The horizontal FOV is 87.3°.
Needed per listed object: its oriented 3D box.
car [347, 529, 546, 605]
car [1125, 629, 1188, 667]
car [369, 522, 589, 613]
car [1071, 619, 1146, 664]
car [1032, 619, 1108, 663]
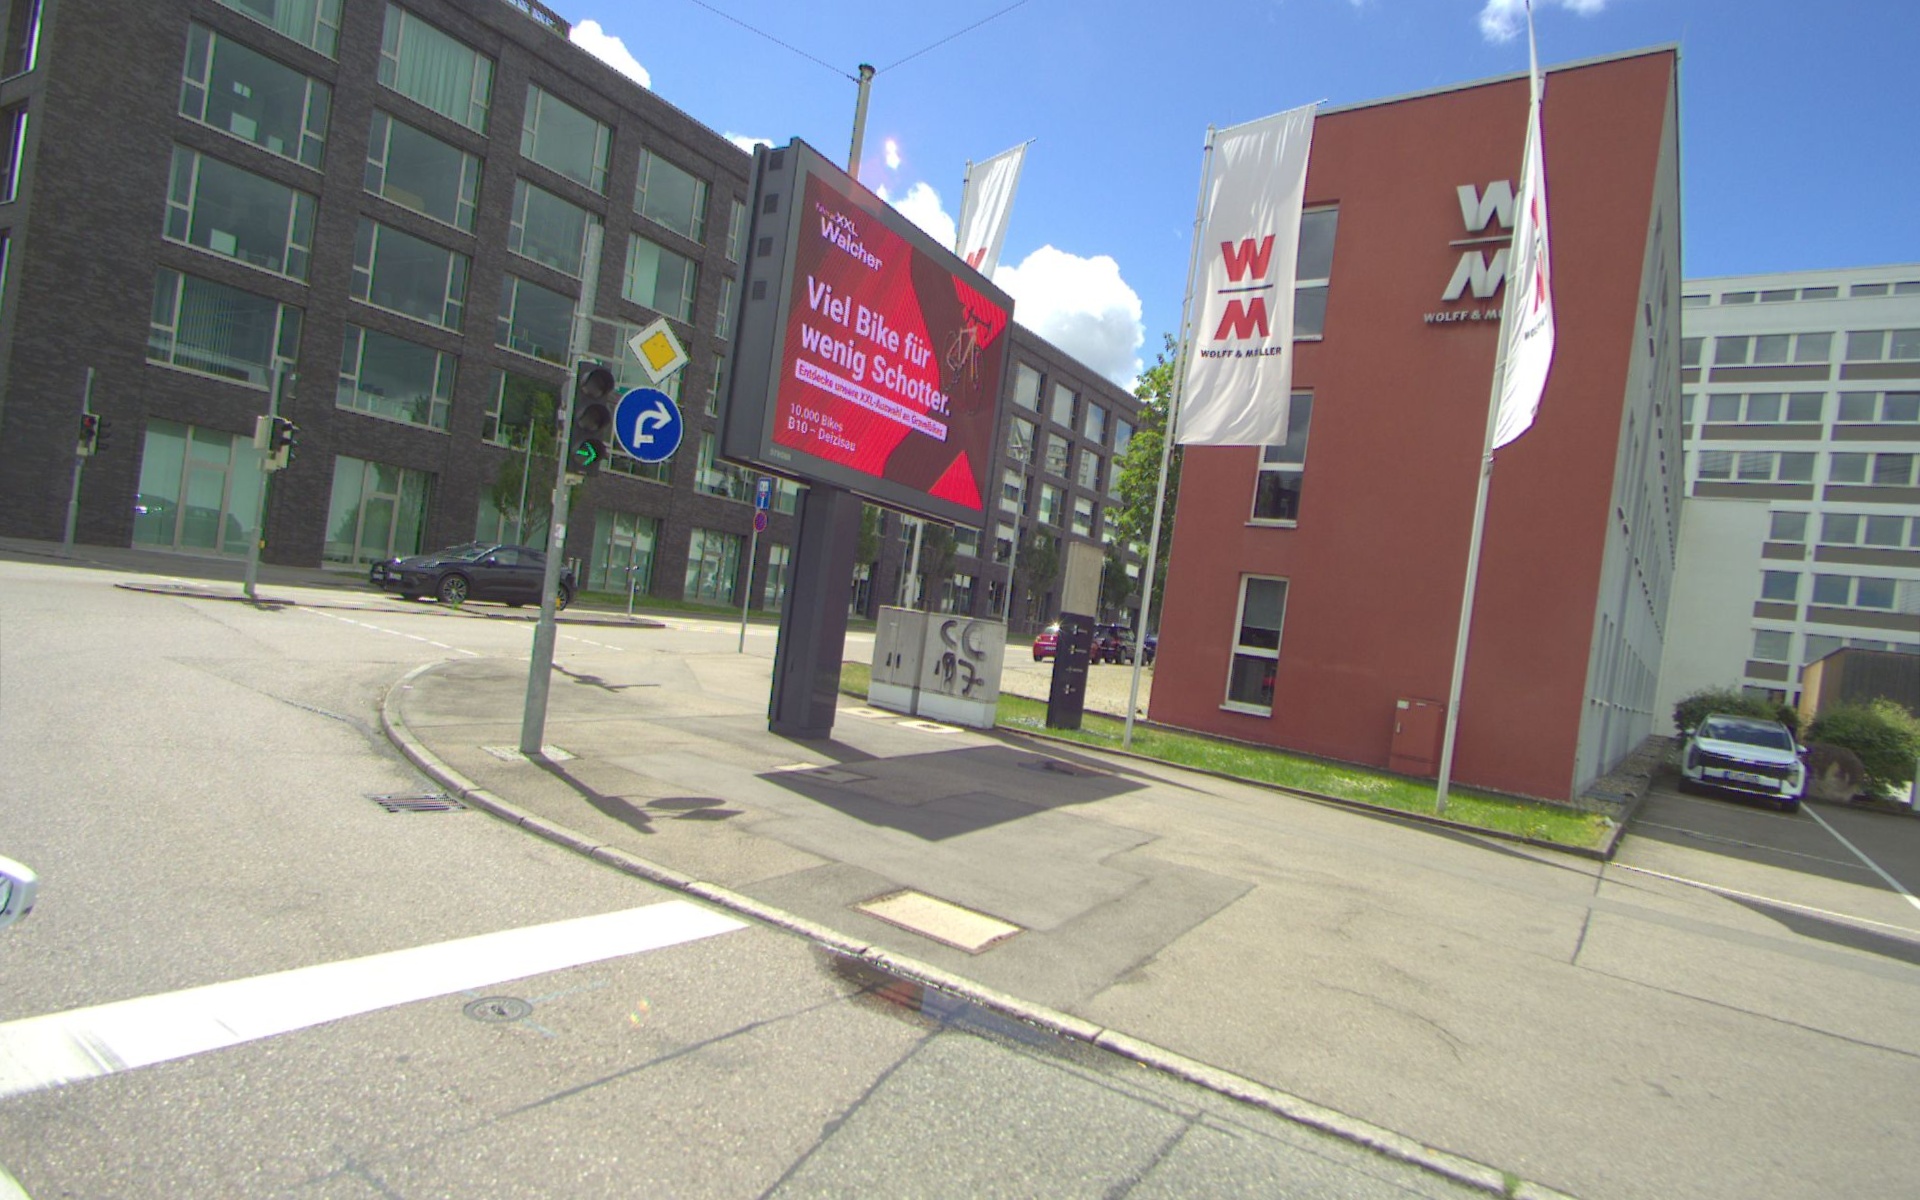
[{"bbox_3d":[-14.291,-0.871,28.286,1.967,1.510,4.531,7,-1,31],"label":"car"},{"bbox_3d":[9.493,2.329,48.303,1.838,1.479,4.310,6,-1,26],"label":"car"},{"bbox_3d":[-12.116,-0.759,25.679,1.966,1.638,4.648,8,-1,30],"label":"car"},{"bbox_3d":[6.462,1.817,43.271,1.838,1.588,4.310,7,-1,26],"label":"car"},{"bbox_3d":[4.223,1.588,38.269,1.716,1.478,3.677,2,-3,26],"label":"car"}]
